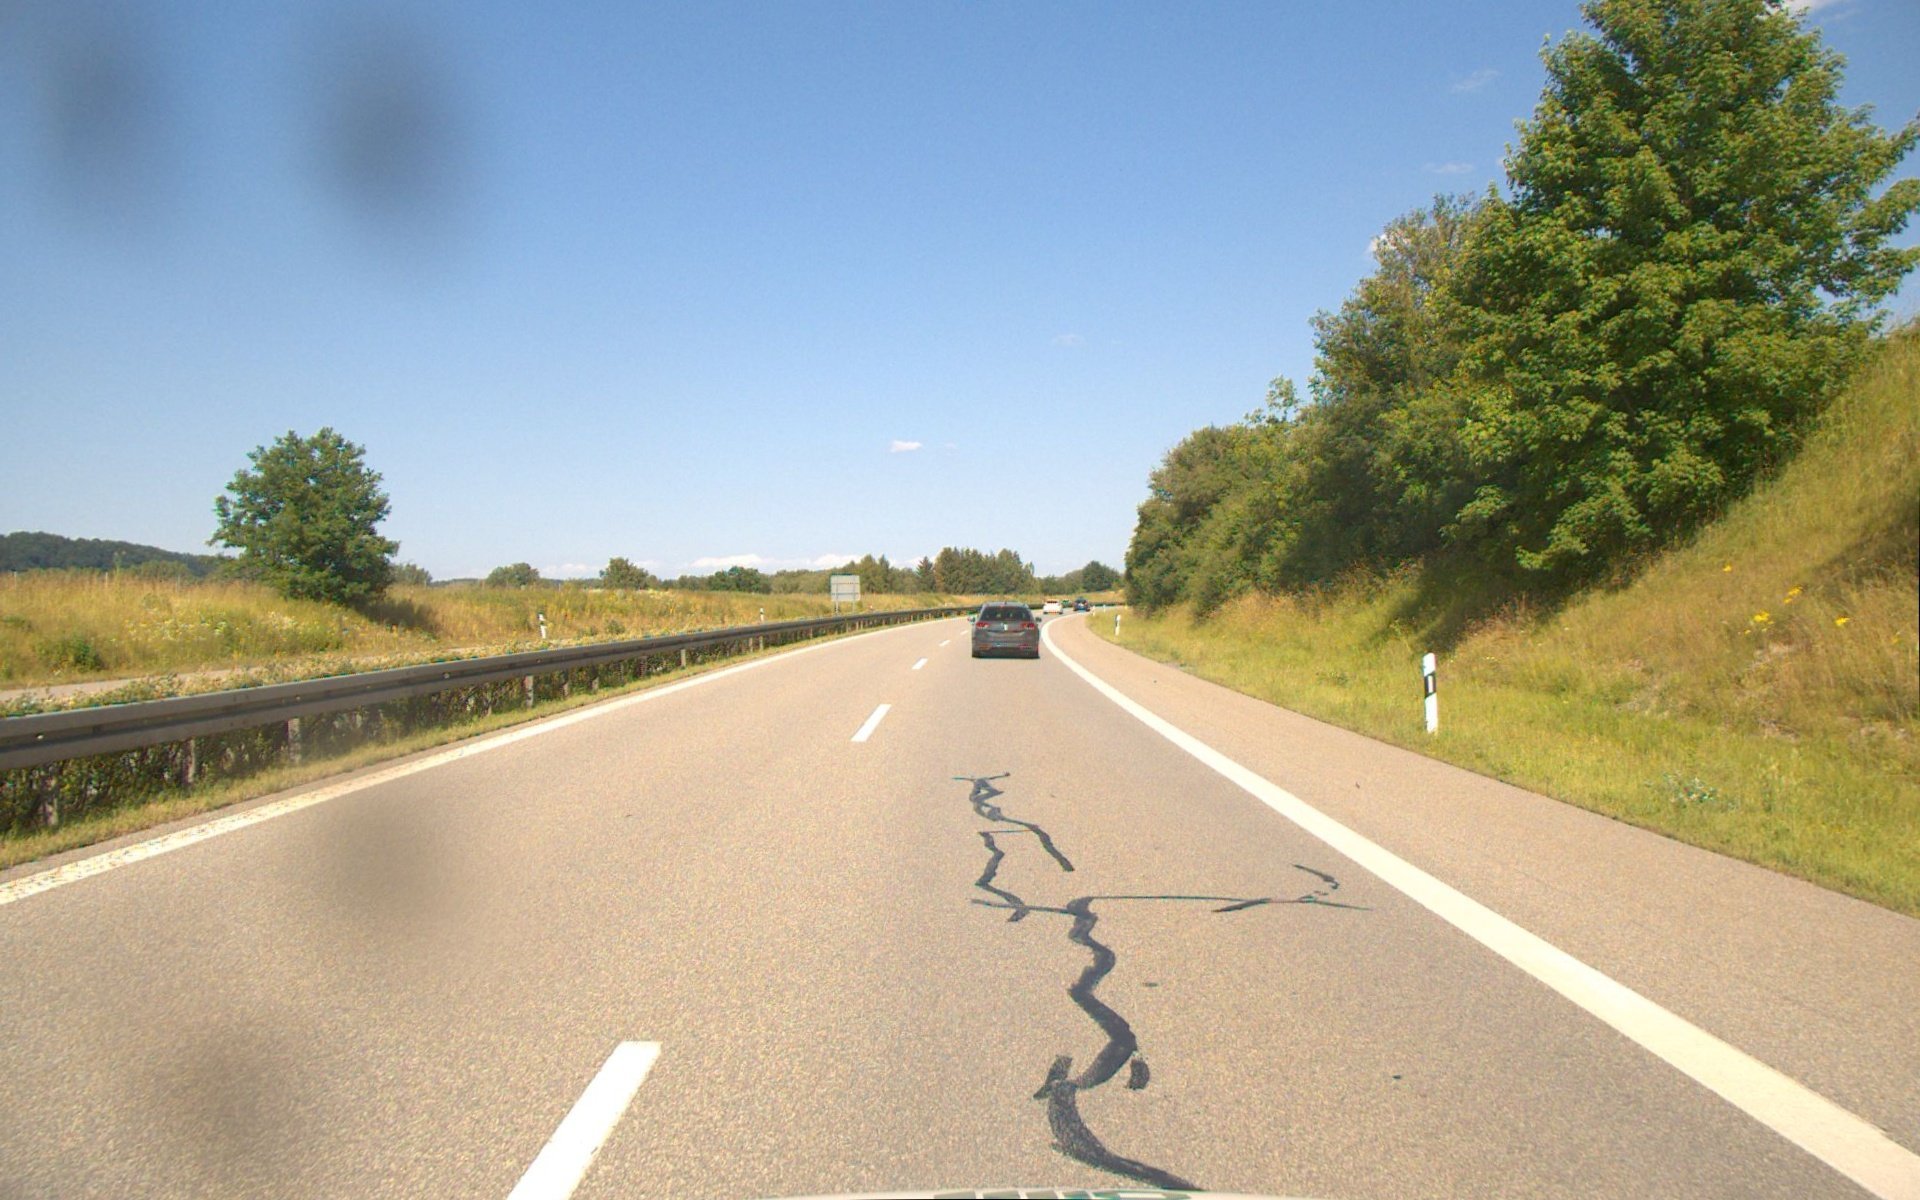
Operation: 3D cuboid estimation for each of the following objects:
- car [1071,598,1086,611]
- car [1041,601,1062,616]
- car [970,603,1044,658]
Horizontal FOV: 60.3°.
[{"bbox_3d":[14.345,0.561,199.927,1.674,1.411,3.357,2,-1,7],"label":"car"},{"bbox_3d":[9.034,0.824,163.190,1.965,1.368,4.002,2,-1,4],"label":"car"},{"bbox_3d":[1.197,0.772,43.806,1.755,1.368,3.999,1,0,-1],"label":"car"}]
